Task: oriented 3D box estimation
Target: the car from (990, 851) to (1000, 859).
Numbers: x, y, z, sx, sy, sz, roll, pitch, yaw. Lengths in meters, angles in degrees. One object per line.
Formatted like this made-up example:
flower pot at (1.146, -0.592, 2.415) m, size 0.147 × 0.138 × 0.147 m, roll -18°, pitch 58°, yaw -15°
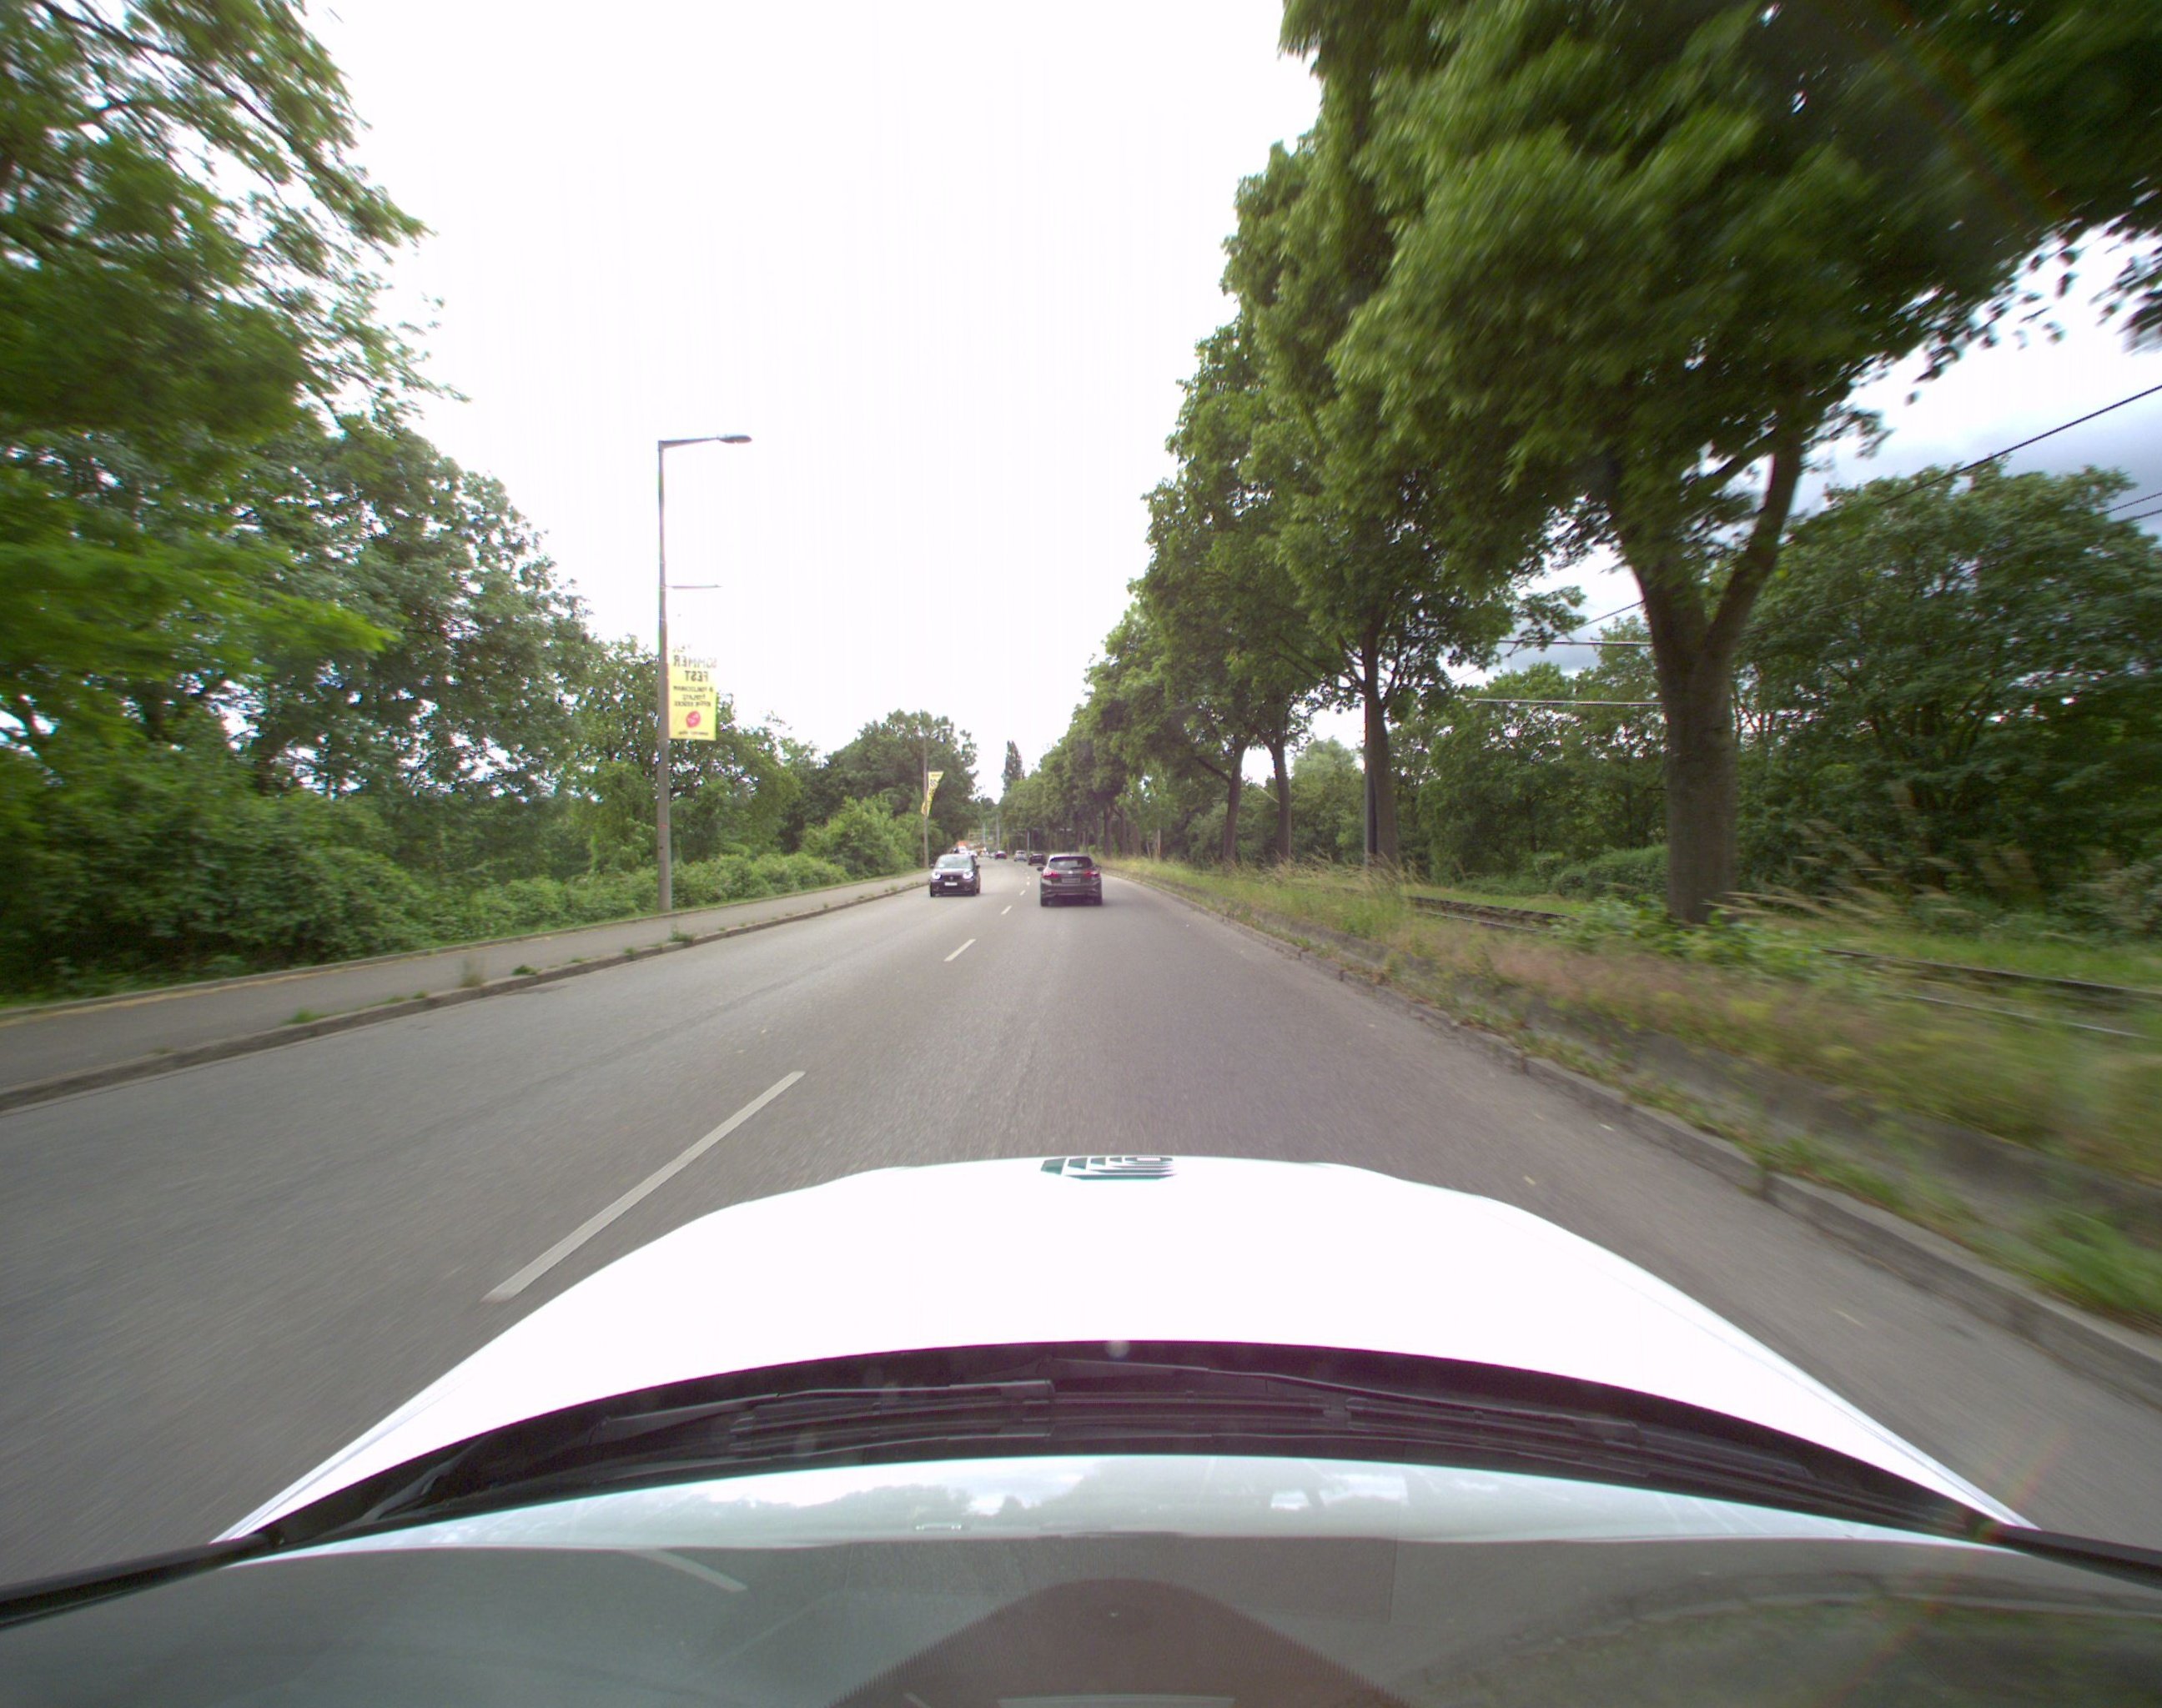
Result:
car at (-16.709, 0.148, 158.473) m, size 1.774 × 1.472 × 3.991 m, roll 1°, pitch 1°, yaw -7°

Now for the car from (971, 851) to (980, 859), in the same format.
car at (-20.863, 0.157, 161.304) m, size 1.747 × 1.464 × 3.911 m, roll 1°, pitch 0°, yaw -7°

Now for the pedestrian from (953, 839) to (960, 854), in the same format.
pedestrian at (-13.090, -0.822, 85.573) m, size 0.616 × 1.571 × 0.848 m, roll 2°, pitch 1°, yaw -5°

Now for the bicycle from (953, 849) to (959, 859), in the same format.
bicycle at (-13.104, -0.037, 85.628) m, size 0.487 × 1.030 × 1.122 m, roll 2°, pitch 1°, yaw -4°

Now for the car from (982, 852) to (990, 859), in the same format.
car at (-21.029, 0.257, 179.771) m, size 1.774 × 1.472 × 3.991 m, roll 2°, pitch 1°, yaw -7°

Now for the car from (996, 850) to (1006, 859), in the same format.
car at (-14.207, 0.084, 144.811) m, size 1.774 × 1.472 × 3.991 m, roll 2°, pitch 1°, yaw -7°

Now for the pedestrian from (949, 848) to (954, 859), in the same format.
pedestrian at (-19.736, -0.064, 124.441) m, size 0.694 × 1.621 × 0.683 m, roll 2°, pitch 1°, yaw -6°

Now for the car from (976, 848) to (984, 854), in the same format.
car at (-25.728, -0.769, 207.415) m, size 1.777 × 1.472 × 3.984 m, roll 2°, pitch 1°, yaw -12°

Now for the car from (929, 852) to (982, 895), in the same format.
car at (-4.650, 0.689, 30.518) m, size 1.592 × 1.506 × 3.025 m, roll -1°, pitch 0°, yaw -2°

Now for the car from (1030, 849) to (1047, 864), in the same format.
car at (-4.440, 0.234, 85.369) m, size 1.772 × 1.472 × 3.996 m, roll 2°, pitch 1°, yaw -3°

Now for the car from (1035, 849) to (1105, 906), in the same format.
car at (-0.411, 0.637, 24.555) m, size 1.813 × 1.508 × 3.993 m, roll -1°, pitch 1°, yaw -5°

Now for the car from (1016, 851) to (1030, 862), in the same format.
car at (-8.182, 0.331, 115.228) m, size 1.772 × 1.472 × 3.995 m, roll 2°, pitch 1°, yaw -4°
